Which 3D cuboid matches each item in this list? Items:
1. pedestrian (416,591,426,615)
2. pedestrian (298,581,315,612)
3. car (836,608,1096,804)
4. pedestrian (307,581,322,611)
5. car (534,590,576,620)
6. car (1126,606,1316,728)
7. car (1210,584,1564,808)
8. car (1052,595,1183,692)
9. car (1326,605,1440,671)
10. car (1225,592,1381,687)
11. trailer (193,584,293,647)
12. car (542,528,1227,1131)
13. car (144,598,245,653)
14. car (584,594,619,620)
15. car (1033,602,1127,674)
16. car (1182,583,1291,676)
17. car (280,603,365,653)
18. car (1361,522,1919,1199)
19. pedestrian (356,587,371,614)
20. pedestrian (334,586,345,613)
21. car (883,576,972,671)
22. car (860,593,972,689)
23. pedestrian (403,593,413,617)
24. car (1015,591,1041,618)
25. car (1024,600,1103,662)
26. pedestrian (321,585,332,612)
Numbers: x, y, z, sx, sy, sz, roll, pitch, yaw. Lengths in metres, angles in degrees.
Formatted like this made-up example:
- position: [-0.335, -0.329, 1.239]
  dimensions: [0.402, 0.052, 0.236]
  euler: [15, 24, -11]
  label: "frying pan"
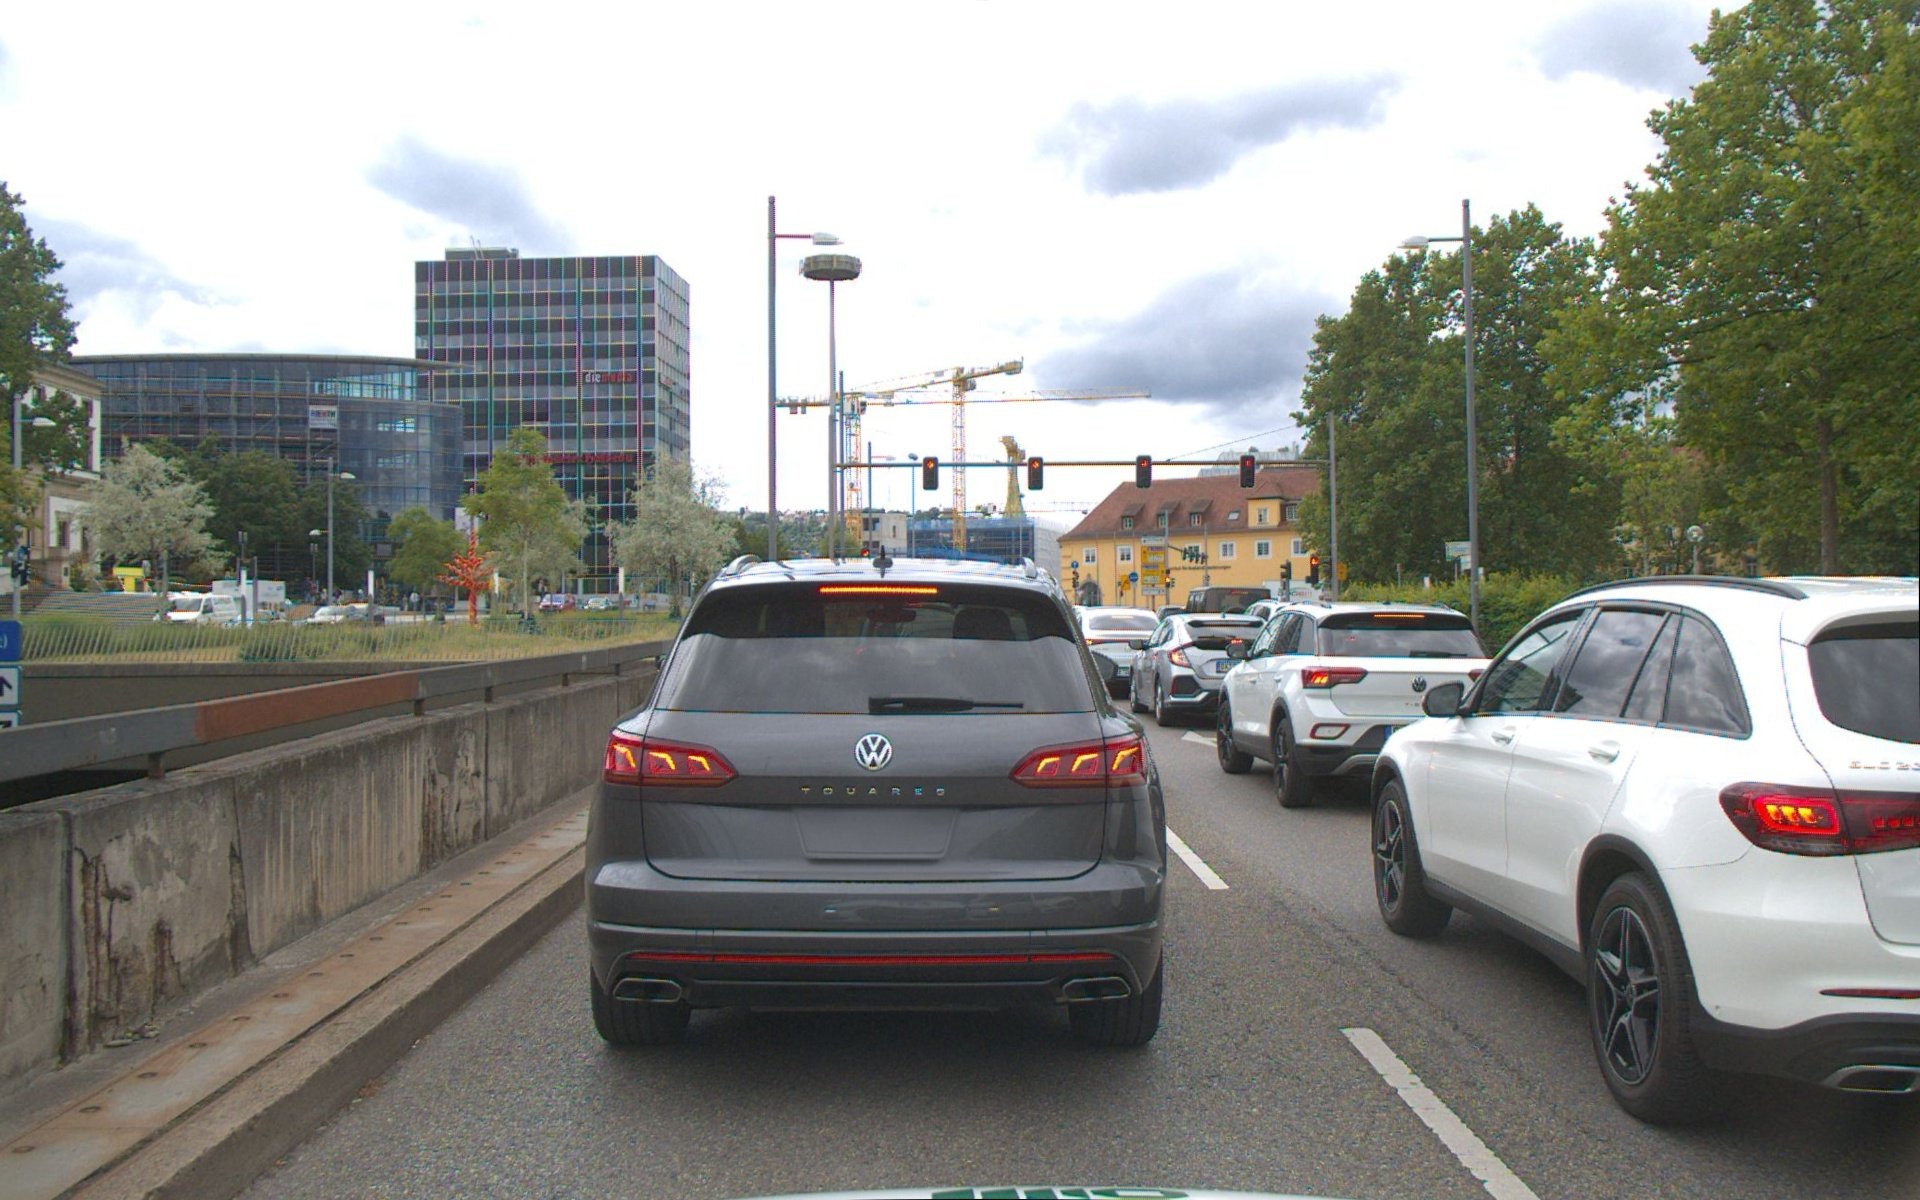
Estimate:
- position: [-46.997, 0.286, 144.253]
  dimensions: [0.726, 2.049, 0.789]
  euler: [-1, 1, -16]
  label: "pedestrian"
- position: [-43.063, -0.237, 109.002]
  dimensions: [0.723, 2.049, 0.793]
  euler: [-1, -2, 2]
  label: "pedestrian"
- position: [0.012, 0.807, 14.380]
  dimensions: [1.912, 1.408, 3.930]
  euler: [2, 0, -1]
  label: "car"
- position: [-44.714, -0.274, 114.549]
  dimensions: [0.723, 2.049, 0.793]
  euler: [-1, 1, 0]
  label: "pedestrian"
- position: [-29.266, 0.344, 119.714]
  dimensions: [1.953, 2.048, 4.691]
  euler: [0, 1, -1]
  label: "car"
- position: [3.380, 0.834, 22.230]
  dimensions: [1.887, 1.457, 4.489]
  euler: [1, -1, 0]
  label: "car"
- position: [3.389, 0.715, 14.046]
  dimensions: [1.887, 1.578, 4.489]
  euler: [0, -1, 0]
  label: "car"
- position: [2.666, 0.734, 28.945]
  dimensions: [1.887, 1.556, 4.489]
  euler: [0, -1, 0]
  label: "car"
- position: [10.224, 0.930, 40.302]
  dimensions: [1.891, 1.485, 4.529]
  euler: [1, -1, 4]
  label: "car"
- position: [6.644, 0.719, 32.503]
  dimensions: [1.954, 1.668, 4.302]
  euler: [0, 1, -4]
  label: "car"
- position: [-31.596, 0.629, 73.065]
  dimensions: [1.996, 2.650, 5.507]
  euler: [2, 1, -1]
  label: "trailer"
- position: [-0.240, 0.648, 6.641]
  dimensions: [1.912, 1.680, 3.999]
  euler: [0, 0, -1]
  label: "car"
- position: [-31.366, 1.014, 67.946]
  dimensions: [1.953, 2.048, 4.692]
  euler: [0, 1, 0]
  label: "car"
- position: [-29.419, 0.572, 135.779]
  dimensions: [1.953, 2.048, 4.691]
  euler: [0, 1, -1]
  label: "car"
- position: [2.683, 0.848, 37.765]
  dimensions: [1.887, 1.556, 4.047]
  euler: [0, -1, 0]
  label: "car"
- position: [6.481, 0.682, 39.191]
  dimensions: [1.871, 2.049, 4.012]
  euler: [2, -1, 0]
  label: "car"
- position: [-28.579, 1.240, 74.286]
  dimensions: [1.953, 2.048, 4.692]
  euler: [0, 1, 0]
  label: "car"
- position: [2.982, 0.649, 6.243]
  dimensions: [1.887, 1.682, 4.490]
  euler: [0, 0, 0]
  label: "car"
- position: [-46.123, 0.017, 127.849]
  dimensions: [0.774, 2.049, 0.741]
  euler: [0, 1, 17]
  label: "pedestrian"
- position: [-47.135, -0.066, 125.689]
  dimensions: [0.728, 2.049, 0.914]
  euler: [-1, 1, -23]
  label: "pedestrian"
- position: [-0.757, 0.530, 38.533]
  dimensions: [1.912, 2.053, 3.930]
  euler: [2, 0, -1]
  label: "car"
- position: [-0.803, 0.721, 30.997]
  dimensions: [1.912, 1.628, 3.930]
  euler: [2, 0, -1]
  label: "car"
- position: [-48.811, 0.431, 146.266]
  dimensions: [0.728, 2.049, 0.787]
  euler: [-1, 1, -23]
  label: "pedestrian"
- position: [4.563, 0.327, 111.356]
  dimensions: [1.586, 1.656, 3.999]
  euler: [2, -1, 0]
  label: "car"
- position: [2.706, 0.816, 44.053]
  dimensions: [1.887, 1.556, 4.047]
  euler: [0, -1, 0]
  label: "car"
- position: [-47.745, -0.109, 124.608]
  dimensions: [0.729, 2.049, 0.914]
  euler: [-1, 1, -24]
  label: "pedestrian"
